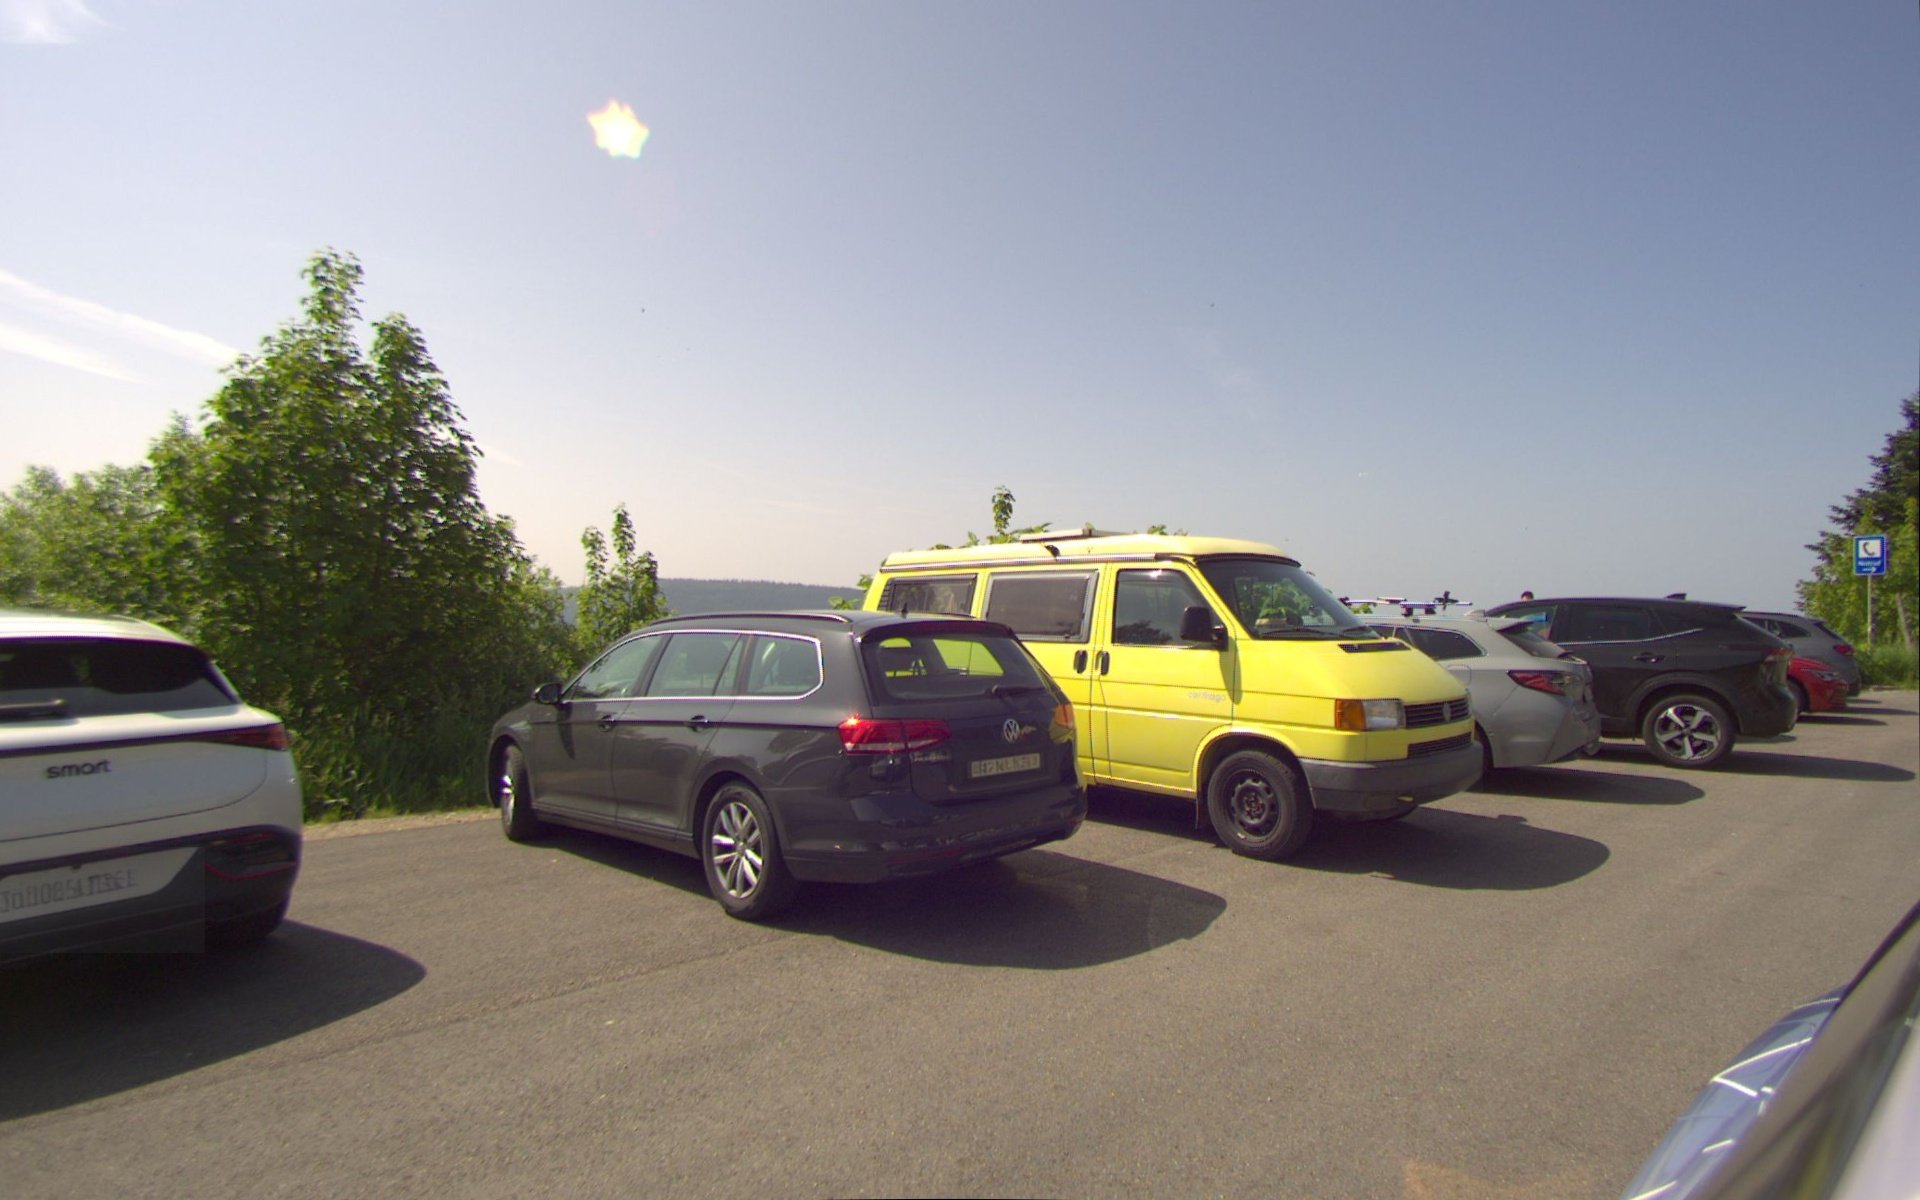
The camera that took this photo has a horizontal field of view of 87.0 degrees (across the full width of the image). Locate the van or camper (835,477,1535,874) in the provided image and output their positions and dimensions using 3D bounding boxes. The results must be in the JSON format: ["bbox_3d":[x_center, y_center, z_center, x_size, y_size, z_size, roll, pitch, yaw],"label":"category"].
[{"bbox_3d":[1.266,0.483,7.746,1.850,2.040,5.095,1,-3,-42],"label":"van or camper"}]

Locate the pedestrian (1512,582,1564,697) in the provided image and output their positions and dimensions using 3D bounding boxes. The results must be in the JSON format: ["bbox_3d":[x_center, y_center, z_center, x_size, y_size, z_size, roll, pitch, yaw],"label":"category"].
[{"bbox_3d":[9.970,0.672,17.455,0.608,1.924,0.668,-2,-2,42],"label":"pedestrian"}]

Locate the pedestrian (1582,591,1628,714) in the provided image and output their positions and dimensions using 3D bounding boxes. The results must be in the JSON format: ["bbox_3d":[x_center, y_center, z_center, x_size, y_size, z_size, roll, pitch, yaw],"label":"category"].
[{"bbox_3d":[9.445,0.757,14.831,0.501,1.747,0.561,-2,-2,31],"label":"pedestrian"}]

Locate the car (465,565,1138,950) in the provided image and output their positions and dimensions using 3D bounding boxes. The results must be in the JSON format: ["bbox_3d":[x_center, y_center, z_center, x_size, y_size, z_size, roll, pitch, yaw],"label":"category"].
[{"bbox_3d":[-1.257,0.708,6.152,4.349,1.507,1.783,-3,-3,44],"label":"car"}]

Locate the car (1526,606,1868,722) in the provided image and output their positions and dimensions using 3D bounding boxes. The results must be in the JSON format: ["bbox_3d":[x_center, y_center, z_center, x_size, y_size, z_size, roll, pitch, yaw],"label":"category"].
[{"bbox_3d":[10.922,0.875,15.341,3.972,1.529,1.819,0,-1,34],"label":"car"}]

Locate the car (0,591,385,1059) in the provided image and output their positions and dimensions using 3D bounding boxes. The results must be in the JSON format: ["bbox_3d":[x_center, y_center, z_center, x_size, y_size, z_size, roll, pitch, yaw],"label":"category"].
[{"bbox_3d":[-4.700,0.754,4.616,4.066,1.519,1.922,-1,0,32],"label":"car"}]

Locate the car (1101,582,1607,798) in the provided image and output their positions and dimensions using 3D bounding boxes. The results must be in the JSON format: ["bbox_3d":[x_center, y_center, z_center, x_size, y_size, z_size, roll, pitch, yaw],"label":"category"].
[{"bbox_3d":[3.552,0.697,9.466,4.137,1.609,1.683,-1,-1,35],"label":"car"}]

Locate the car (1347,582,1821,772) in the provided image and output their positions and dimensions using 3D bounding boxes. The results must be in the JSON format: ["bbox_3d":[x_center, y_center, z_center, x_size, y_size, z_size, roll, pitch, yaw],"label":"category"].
[{"bbox_3d":[6.415,0.689,10.703,3.979,1.634,1.890,-1,-1,39],"label":"car"}]

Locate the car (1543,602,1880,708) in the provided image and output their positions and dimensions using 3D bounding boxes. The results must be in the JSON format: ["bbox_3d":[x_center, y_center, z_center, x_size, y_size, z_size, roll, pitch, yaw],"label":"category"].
[{"bbox_3d":[12.531,0.880,17.275,4.378,1.589,1.885,-1,-2,33],"label":"car"}]
